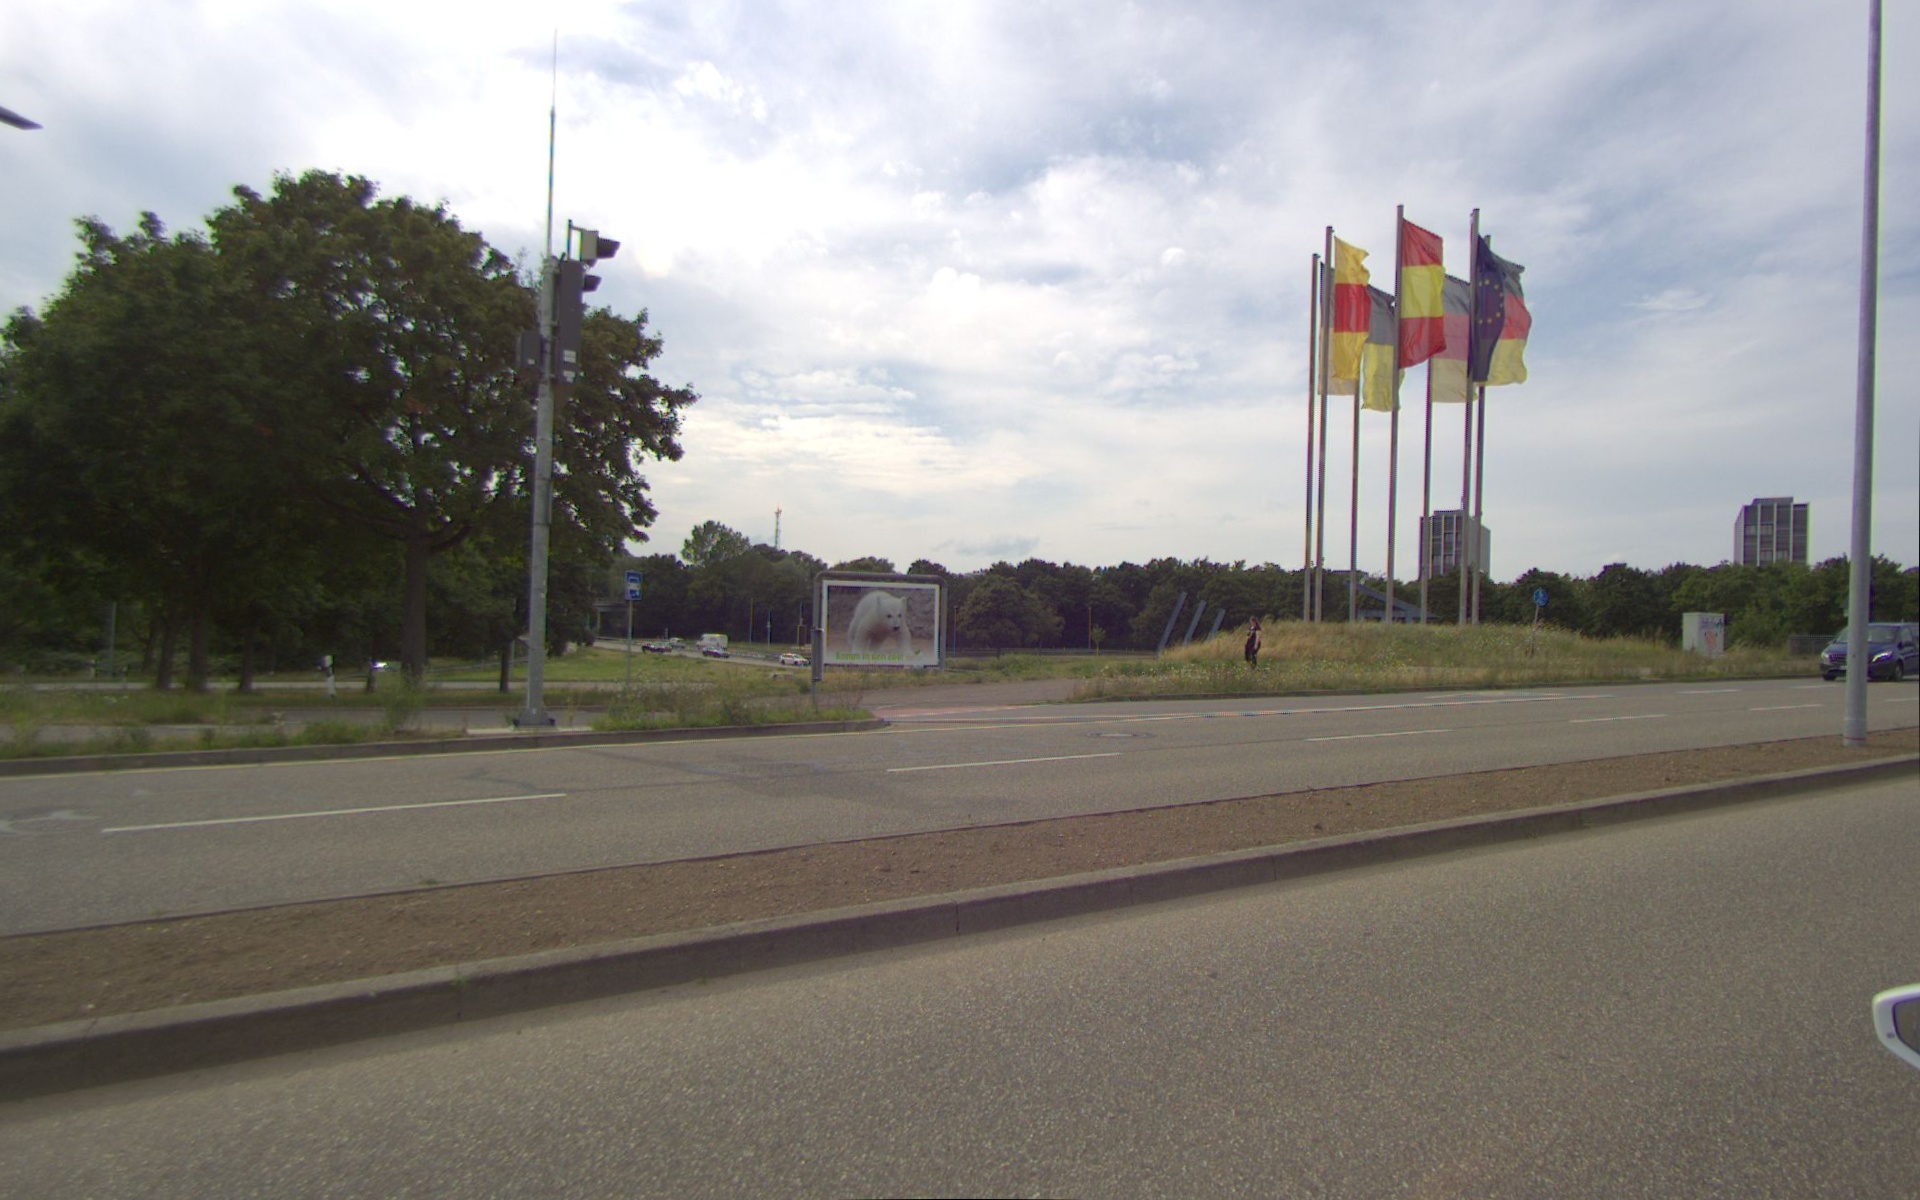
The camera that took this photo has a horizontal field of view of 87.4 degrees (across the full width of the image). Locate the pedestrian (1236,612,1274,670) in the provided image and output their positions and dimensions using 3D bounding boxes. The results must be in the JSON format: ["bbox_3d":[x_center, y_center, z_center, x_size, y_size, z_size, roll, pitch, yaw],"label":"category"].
[{"bbox_3d":[8.814,1.218,29.996,0.671,1.715,0.861,0,-1,-31],"label":"pedestrian"}]

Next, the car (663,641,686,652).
[{"bbox_3d":[-46.394,7.509,163.238,3.940,1.773,1.795,-1,-2,40],"label":"car"}]

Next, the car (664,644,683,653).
[{"bbox_3d":[-44.010,7.417,154.373,3.304,1.237,1.255,0,-1,40],"label":"car"}]

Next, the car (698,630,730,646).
[{"bbox_3d":[-39.923,6.147,163.000,5.764,2.411,1.982,0,-1,40],"label":"car"}]

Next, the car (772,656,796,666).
[{"bbox_3d":[-22.628,7.850,129.351,3.304,1.237,1.255,0,-1,40],"label":"car"}]

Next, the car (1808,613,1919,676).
[{"bbox_3d":[30.192,1.443,32.879,5.436,1.918,1.840,1,-3,-29],"label":"car"}]
